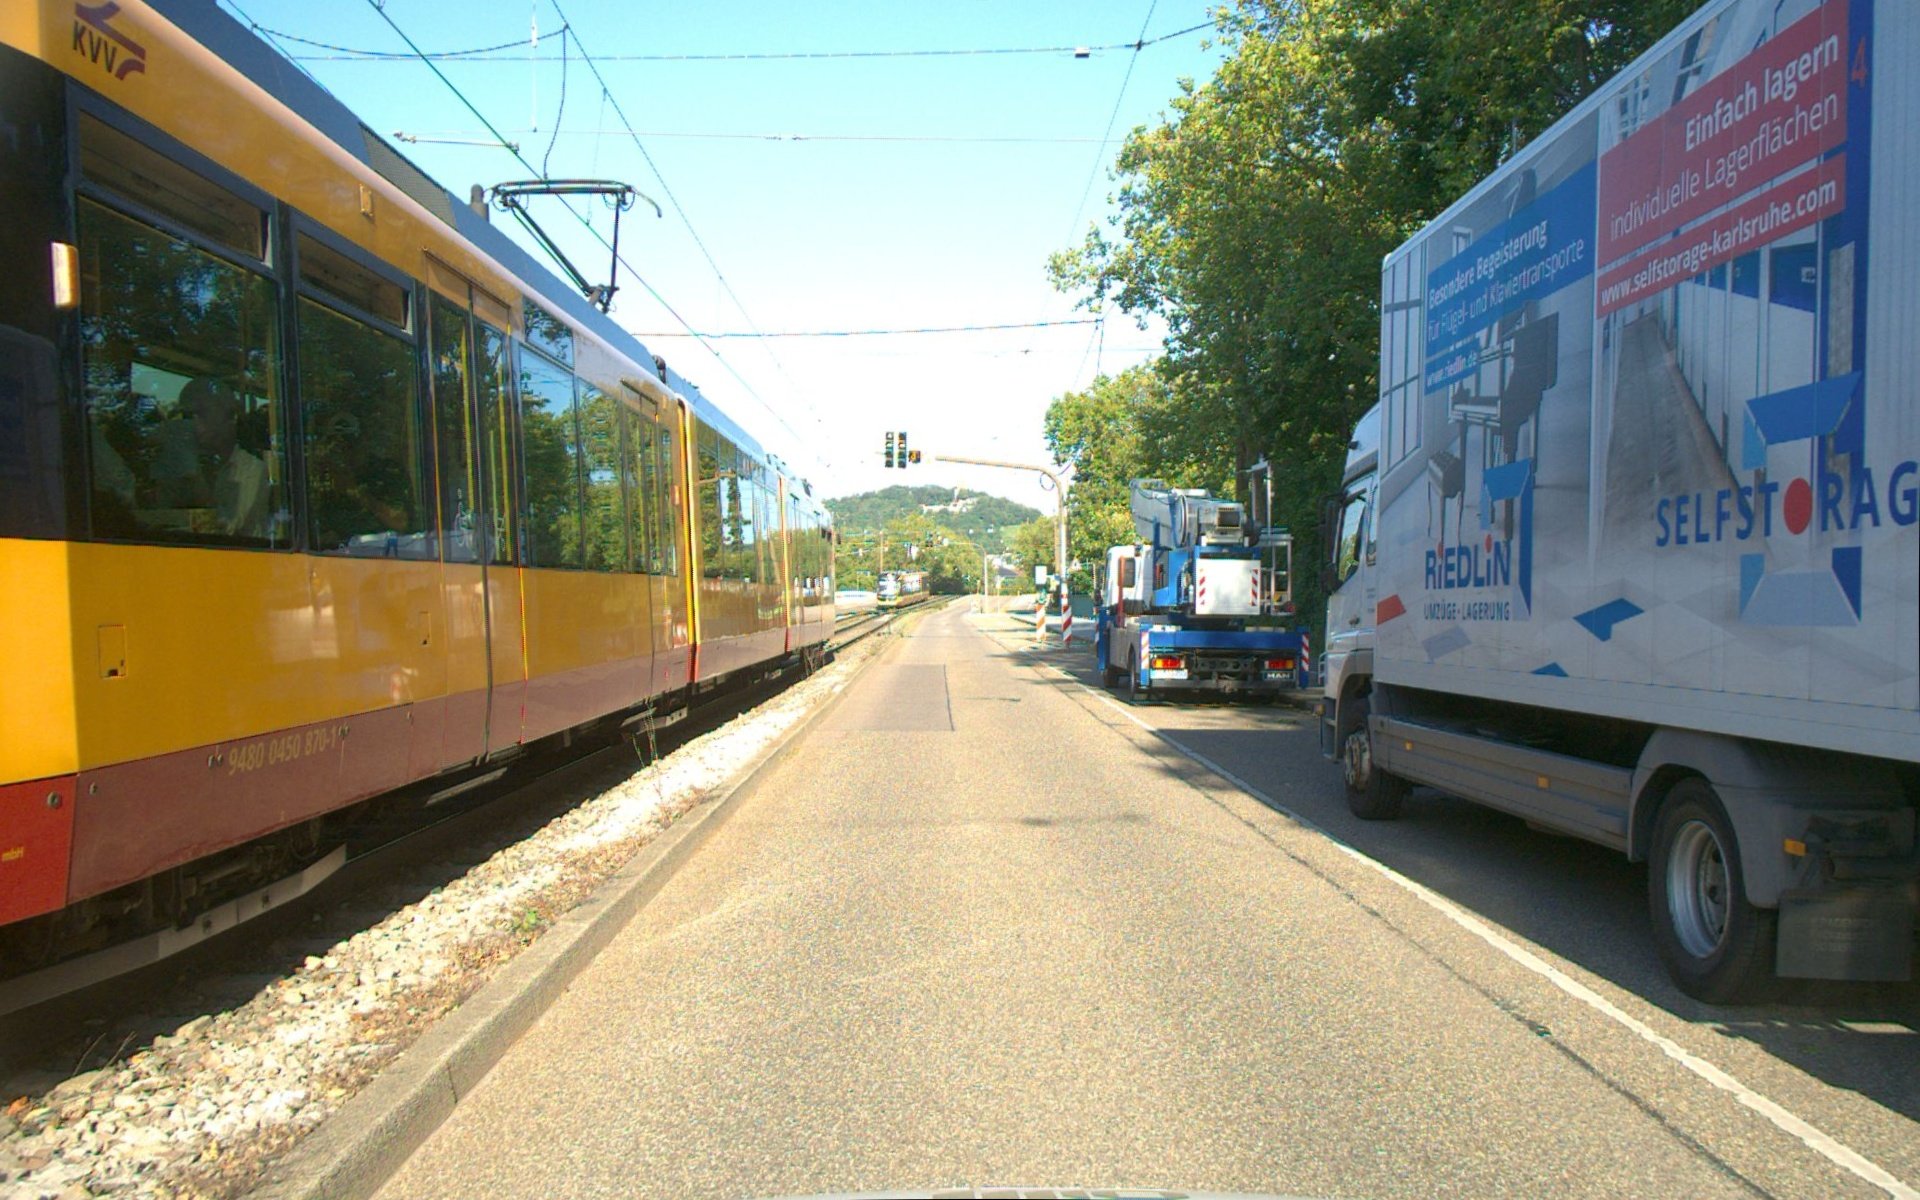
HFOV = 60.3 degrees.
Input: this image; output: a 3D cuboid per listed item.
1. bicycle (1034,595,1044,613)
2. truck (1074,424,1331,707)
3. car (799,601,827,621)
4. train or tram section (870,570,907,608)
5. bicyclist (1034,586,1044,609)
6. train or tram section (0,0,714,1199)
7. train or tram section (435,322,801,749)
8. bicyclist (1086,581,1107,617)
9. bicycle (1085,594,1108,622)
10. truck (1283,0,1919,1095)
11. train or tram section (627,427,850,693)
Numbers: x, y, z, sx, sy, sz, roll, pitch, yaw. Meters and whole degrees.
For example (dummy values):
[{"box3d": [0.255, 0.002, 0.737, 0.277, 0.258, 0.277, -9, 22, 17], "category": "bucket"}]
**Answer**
[{"box3d": [4.880, 0.244, 102.081, 0.504, 1.060, 1.975, 0, 0, -1], "category": "bicycle"}, {"box3d": [3.671, -0.480, 27.571, 2.662, 3.850, 9.759, -1, 0, -1], "category": "truck"}, {"box3d": [-11.233, 0.829, 126.652, 1.731, 1.437, 4.911, -1, 0, 0], "category": "car"}, {"box3d": [-7.158, -1.093, 166.892, 2.589, 3.629, 10.836, -1, 0, 3], "category": "train or tram section"}, {"box3d": [4.875, -0.157, 102.073, 0.592, 1.403, 0.975, 0, 0, -1], "category": "bicyclist"}, {"box3d": [-3.778, -0.532, 9.547, 2.666, 4.162, 13.614, -1, 0, 0], "category": "train or tram section"}, {"box3d": [-3.850, -0.649, 21.283, 2.639, 4.160, 9.909, -1, 0, 0], "category": "train or tram section"}, {"box3d": [5.903, -0.059, 71.634, 0.807, 1.547, 0.975, 0, 0, -1], "category": "bicyclist"}, {"box3d": [5.913, 0.327, 71.529, 0.713, 1.196, 2.694, -1, 0, -1], "category": "bicycle"}, {"box3d": [4.084, -0.476, 8.439, 2.686, 3.850, 10.087, 1, 0, -1], "category": "truck"}, {"box3d": [-3.937, -0.645, 32.616, 2.664, 4.160, 12.811, -1, 0, 0], "category": "train or tram section"}]
